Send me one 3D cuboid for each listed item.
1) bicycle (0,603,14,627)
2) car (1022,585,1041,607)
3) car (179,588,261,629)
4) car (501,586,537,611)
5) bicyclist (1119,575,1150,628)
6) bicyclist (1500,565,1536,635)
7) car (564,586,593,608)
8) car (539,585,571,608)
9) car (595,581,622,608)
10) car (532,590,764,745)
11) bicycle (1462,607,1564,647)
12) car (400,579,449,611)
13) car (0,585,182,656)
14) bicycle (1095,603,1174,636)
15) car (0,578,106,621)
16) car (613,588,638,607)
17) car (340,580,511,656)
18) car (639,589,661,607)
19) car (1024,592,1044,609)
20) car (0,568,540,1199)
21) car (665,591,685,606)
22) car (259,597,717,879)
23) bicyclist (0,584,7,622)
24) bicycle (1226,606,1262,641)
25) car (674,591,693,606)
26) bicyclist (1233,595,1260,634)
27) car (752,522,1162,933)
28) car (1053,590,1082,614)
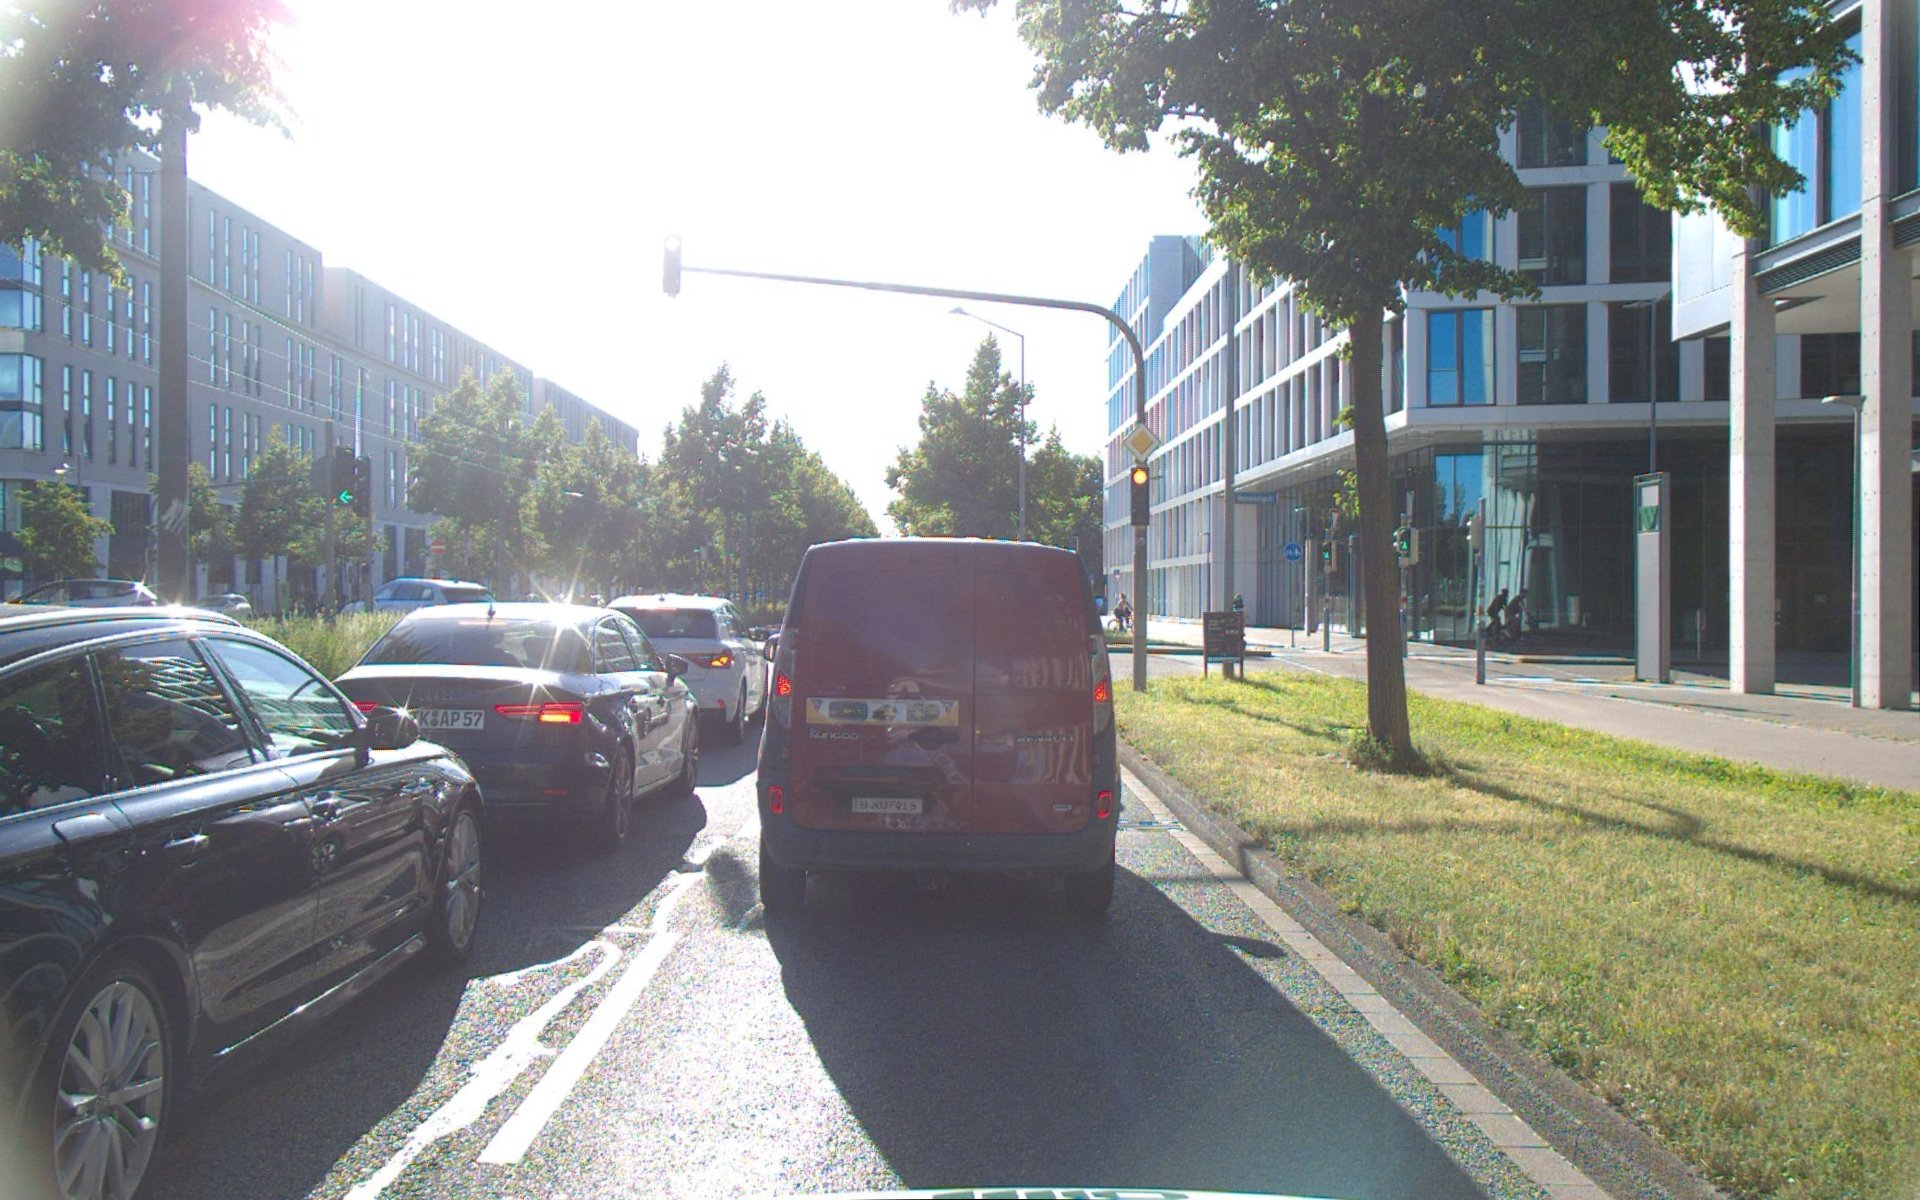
[{"bbox_3d":[-40.573,0.635,69.414,0.663,1.005,1.956,0,0,-1],"label":"bicycle"},{"bbox_3d":[8.571,-0.512,198.463,1.953,2.540,4.986,0,0,-1],"label":"car"},{"bbox_3d":[-34.744,0.370,77.768,1.953,1.845,4.369,0,0,-1],"label":"car"},{"bbox_3d":[-36.250,-0.147,135.942,1.953,2.049,3.999,0,0,-1],"label":"car"},{"bbox_3d":[6.568,0.063,62.394,0.978,1.981,0.817,0,0,22],"label":"bicyclist"},{"bbox_3d":[17.185,-0.008,50.922,0.922,2.129,0.816,0,0,29],"label":"bicyclist"},{"bbox_3d":[-36.390,-0.320,157.870,1.953,2.049,3.999,0,0,-1],"label":"car"},{"bbox_3d":[-36.372,-0.343,148.770,1.953,2.049,3.999,0,0,-1],"label":"car"},{"bbox_3d":[-35.608,-0.563,167.813,1.953,2.653,3.999,0,0,-1],"label":"car"},{"bbox_3d":[-3.172,0.626,17.525,1.767,1.451,3.900,0,0,-1],"label":"car"},{"bbox_3d":[17.046,0.819,50.987,2.886,1.211,0.816,0,0,29],"label":"bicycle"},{"bbox_3d":[-35.286,-0.315,109.107,1.953,2.049,3.999,0,0,-1],"label":"car"},{"bbox_3d":[-19.332,0.418,35.629,4.487,1.473,1.794,0,0,-21],"label":"car"},{"bbox_3d":[6.582,0.733,62.378,2.882,1.211,0.817,0,0,23],"label":"bicycle"},{"bbox_3d":[-33.196,-0.033,60.649,1.729,1.546,3.999,0,0,-1],"label":"car"},{"bbox_3d":[-36.727,-0.273,181.850,1.953,2.049,3.999,0,0,-1],"label":"car"},{"bbox_3d":[-11.251,0.346,34.702,4.139,1.518,1.511,0,0,41],"label":"car"},{"bbox_3d":[-37.225,-0.251,198.657,1.953,2.049,3.999,0,0,-1],"label":"car"},{"bbox_3d":[8.058,0.071,179.936,1.953,1.813,3.999,0,0,-1],"label":"car"},{"bbox_3d":[-2.772,0.684,5.105,1.836,1.510,4.965,0,0,-2],"label":"car"},{"bbox_3d":[-37.366,-0.211,216.672,1.953,2.049,3.999,0,0,-1],"label":"car"},{"bbox_3d":[-2.783,0.721,10.818,1.804,1.451,4.338,0,0,-1],"label":"car"},{"bbox_3d":[-40.566,0.124,69.466,0.663,1.556,0.714,0,0,-1],"label":"bicyclist"},{"bbox_3d":[9.583,0.770,55.828,0.801,1.134,2.847,0,0,2],"label":"bicycle"},{"bbox_3d":[-37.178,-0.188,222.298,1.953,2.049,3.999,0,0,-1],"label":"car"},{"bbox_3d":[9.685,0.495,55.852,0.801,1.297,0.683,0,0,1],"label":"bicyclist"},{"bbox_3d":[-0.043,0.557,9.318,1.804,1.812,3.999,0,0,-1],"label":"car"},{"bbox_3d":[8.323,0.151,128.125,1.953,1.813,3.999,0,0,-1],"label":"car"}]
